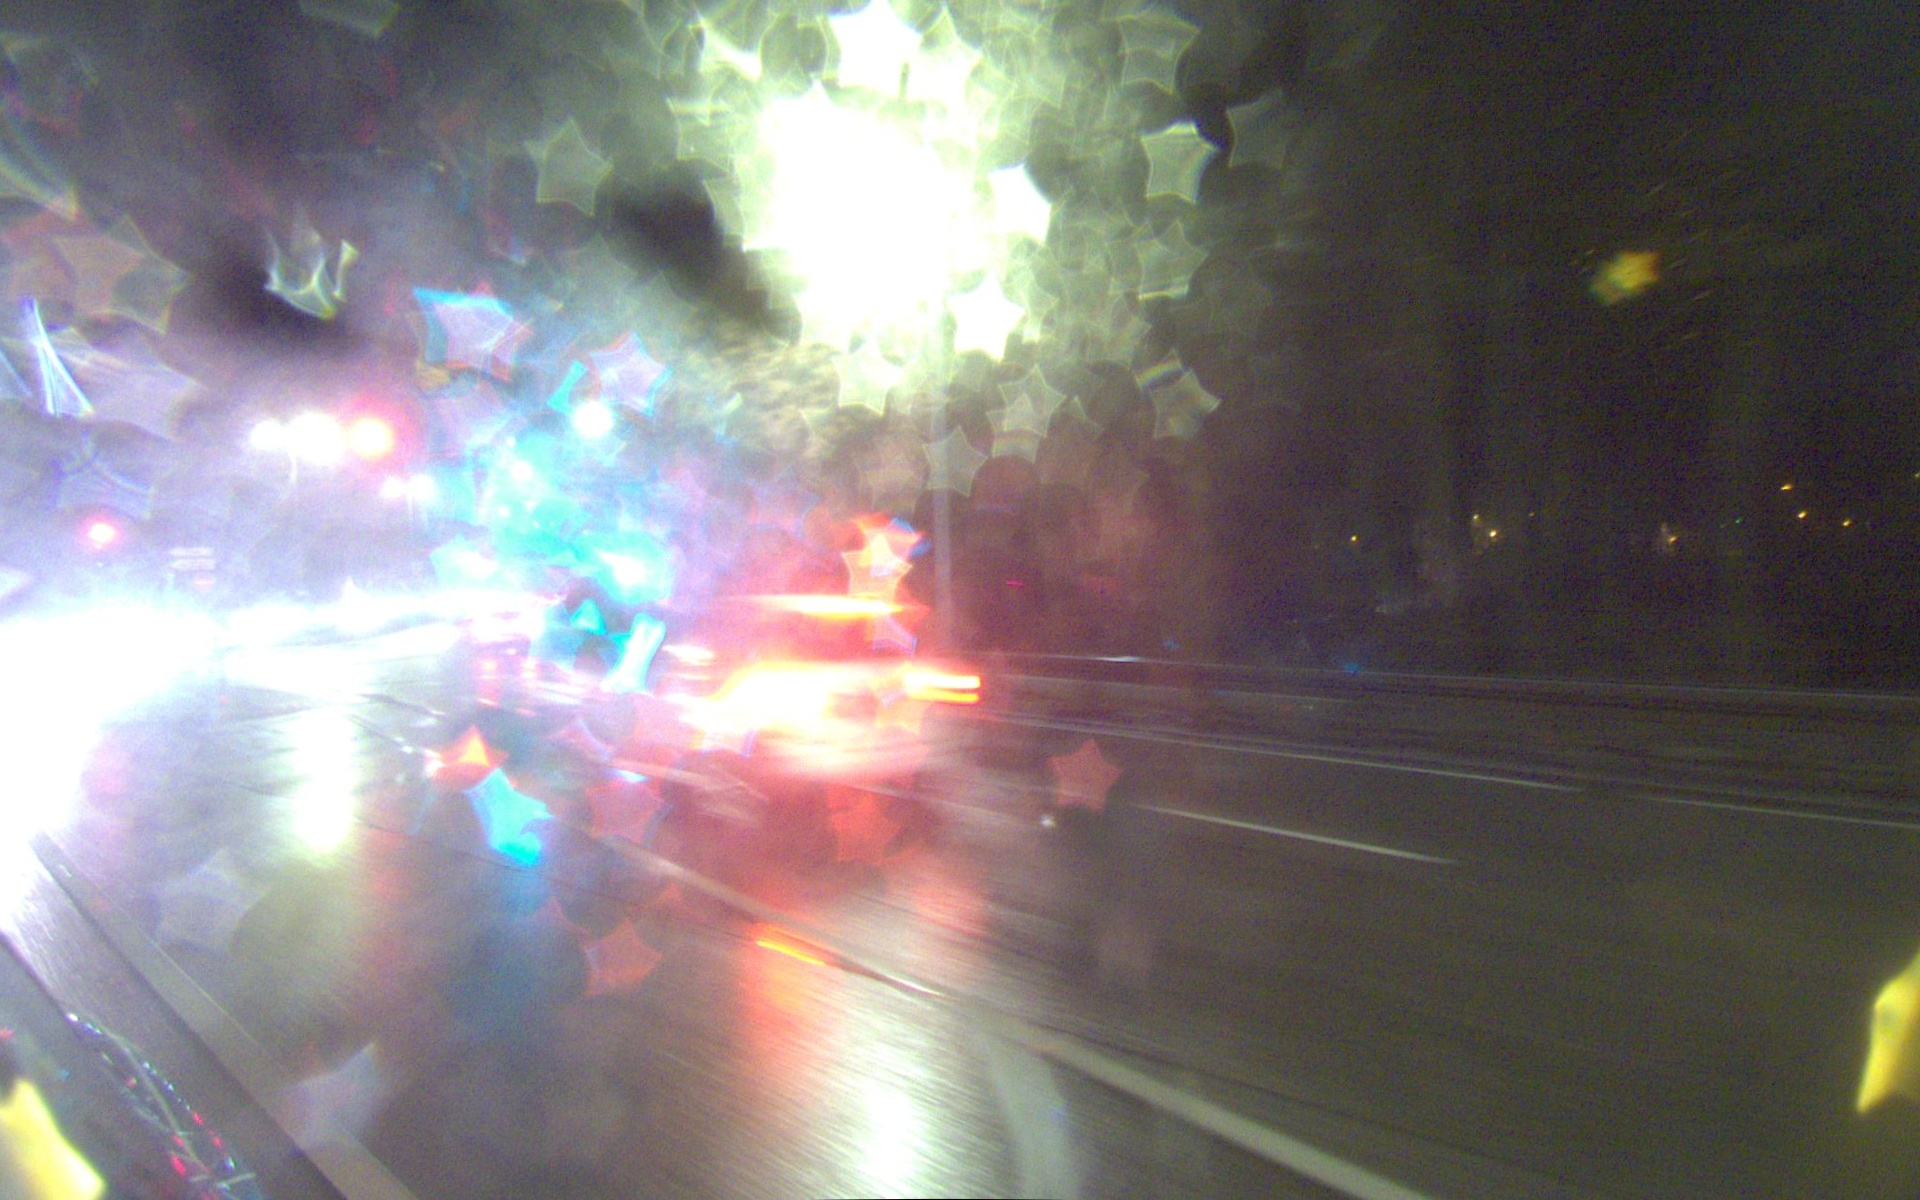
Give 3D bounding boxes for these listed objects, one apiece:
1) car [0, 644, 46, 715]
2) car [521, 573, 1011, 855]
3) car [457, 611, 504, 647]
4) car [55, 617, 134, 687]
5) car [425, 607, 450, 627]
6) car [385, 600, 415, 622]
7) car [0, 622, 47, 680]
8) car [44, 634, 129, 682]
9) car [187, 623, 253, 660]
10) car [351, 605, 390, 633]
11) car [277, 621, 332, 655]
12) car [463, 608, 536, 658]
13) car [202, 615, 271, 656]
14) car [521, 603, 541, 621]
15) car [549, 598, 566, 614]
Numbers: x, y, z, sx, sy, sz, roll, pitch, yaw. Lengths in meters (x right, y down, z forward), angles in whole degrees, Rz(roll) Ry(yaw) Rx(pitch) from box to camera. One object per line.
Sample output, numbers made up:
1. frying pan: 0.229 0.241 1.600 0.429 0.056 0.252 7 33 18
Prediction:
1. car: -24.465 2.109 25.516 1.287 1.537 3.055 -17 9 -31
2. car: -1.900 0.709 8.517 1.974 1.687 4.624 -2 0 -41
3. car: -22.932 1.369 48.467 1.957 1.617 4.849 0 -1 -25
4. car: -32.713 1.888 38.348 1.969 2.027 4.008 -8 8 -39
5. car: -57.825 1.866 112.100 1.838 2.029 4.012 -2 0 -18
6. car: -55.195 1.122 99.787 1.838 2.029 4.012 -2 0 -18
7. car: -35.491 1.878 37.022 1.838 2.029 4.013 -2 0 -23
8. car: -41.037 2.666 47.649 1.805 2.029 4.013 -2 0 -22
9. car: -44.626 2.449 61.109 1.966 2.029 4.012 -2 0 -17
10. car: -46.329 1.491 79.667 1.838 2.029 4.012 -2 0 -19
11. car: -43.244 2.483 66.885 1.839 2.029 4.011 -2 0 -14
12. car: -16.379 1.154 35.891 1.958 1.617 4.848 0 -1 -29
13. car: -39.100 1.872 54.801 1.966 2.029 4.013 -2 0 -20
14. car: -46.855 1.321 110.519 1.714 1.870 4.012 -2 0 -19
15. car: -50.478 0.793 127.047 1.714 1.870 4.012 -2 0 -19
